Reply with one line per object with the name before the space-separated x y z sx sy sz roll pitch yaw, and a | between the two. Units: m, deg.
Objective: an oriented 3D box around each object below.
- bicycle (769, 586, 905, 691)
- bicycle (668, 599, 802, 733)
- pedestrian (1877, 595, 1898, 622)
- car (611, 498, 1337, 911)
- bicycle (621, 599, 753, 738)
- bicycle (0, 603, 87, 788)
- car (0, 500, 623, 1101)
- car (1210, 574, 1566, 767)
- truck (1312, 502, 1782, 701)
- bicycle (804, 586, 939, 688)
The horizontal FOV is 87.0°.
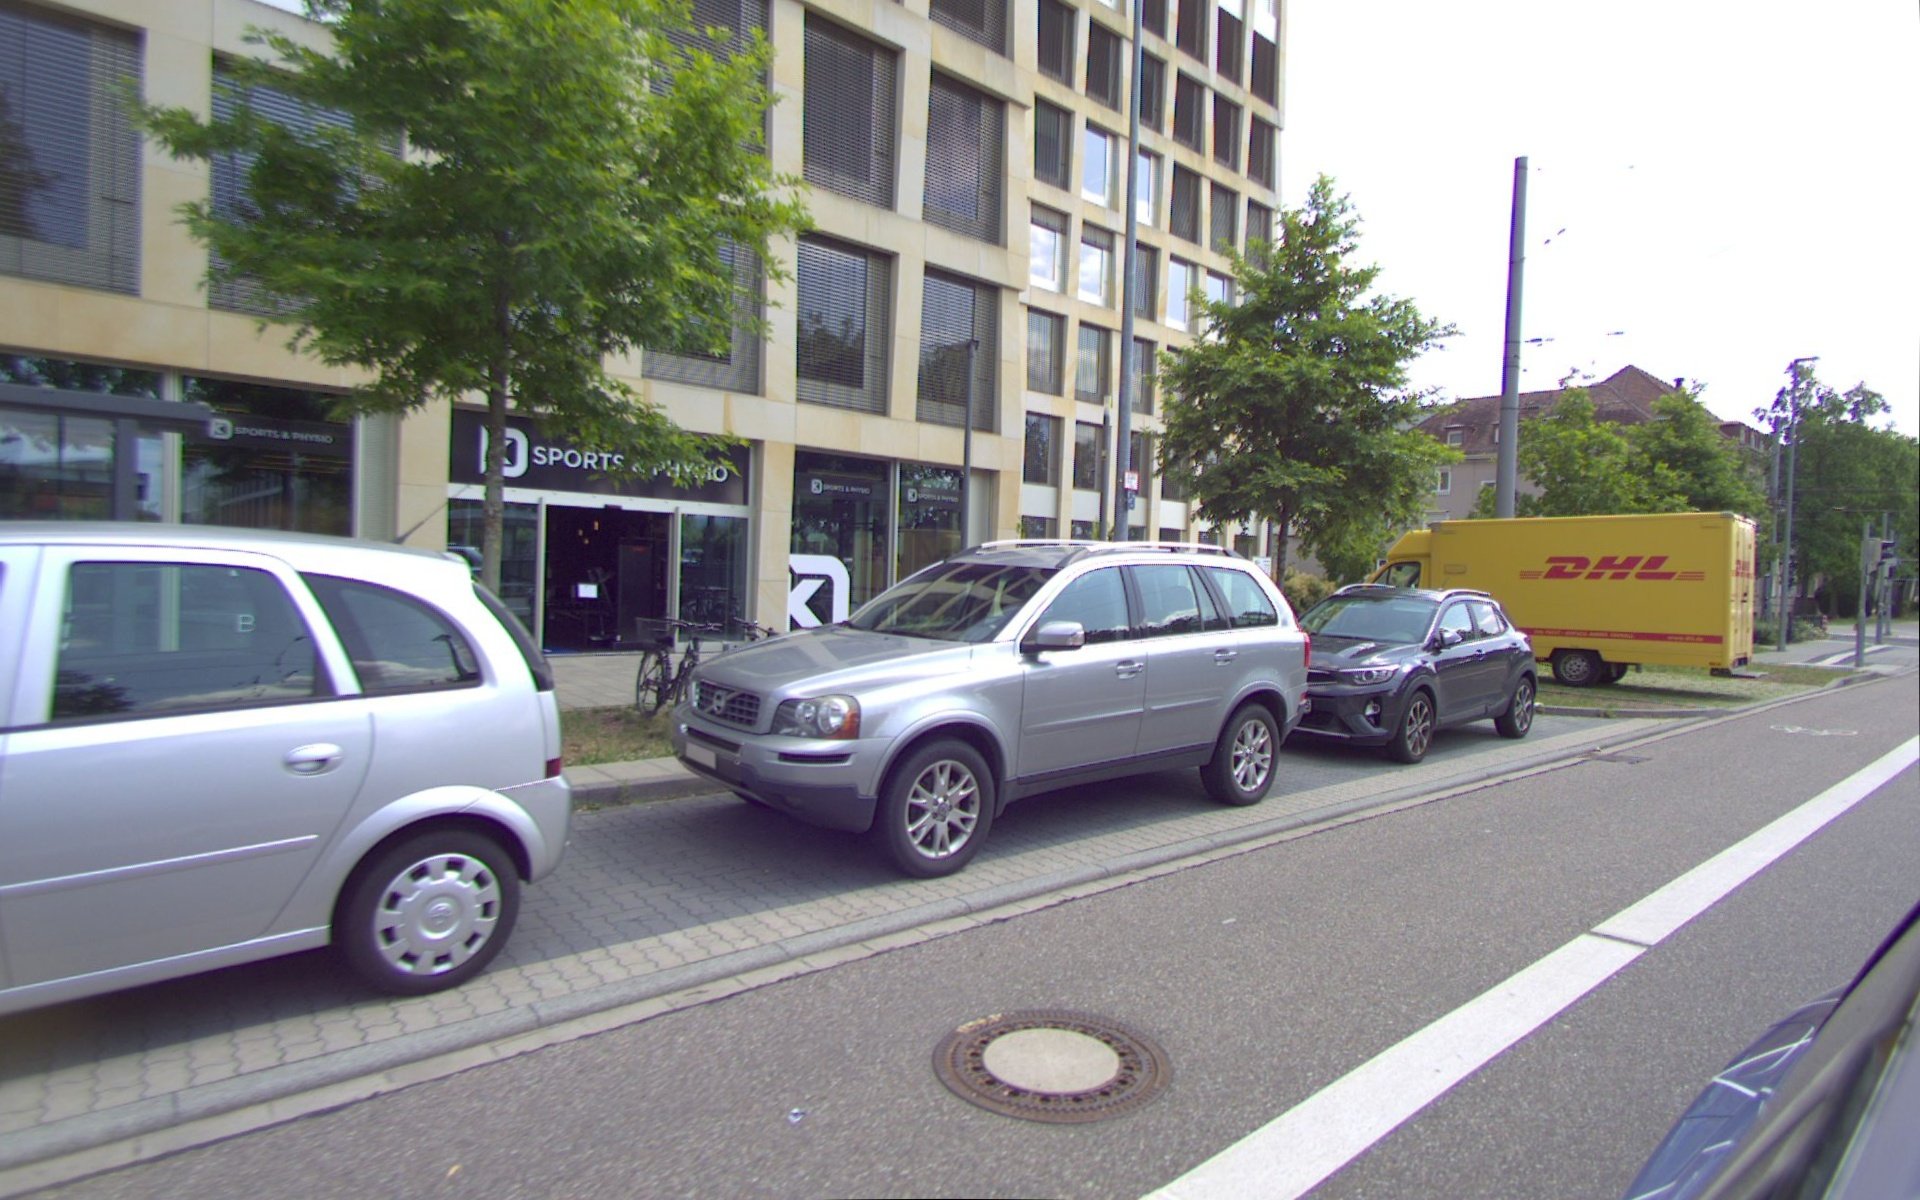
bicycle | -1.320 0.392 10.548 0.432 1.007 1.843 0 -2 -41
bicycle | -2.350 0.625 10.404 0.479 1.139 1.845 0 4 -41
pedestrian | 57.838 0.502 63.113 0.612 1.627 0.625 2 3 -4
car | 0.407 0.417 6.620 4.755 1.789 1.772 0 2 -41
bicycle | -2.749 0.626 10.063 0.472 1.139 1.845 0 4 -41
bicycle | -6.104 0.563 6.733 0.432 1.070 1.844 0 0 -41
car | -3.294 0.508 3.285 3.792 1.639 1.724 0 2 -41
car | 4.426 0.562 10.191 3.997 1.523 1.695 0 2 -41
truck | 10.122 -0.146 18.137 2.413 2.902 6.817 0 3 -42
bicycle | -0.988 0.390 10.862 0.432 1.007 1.843 0 -2 -41
